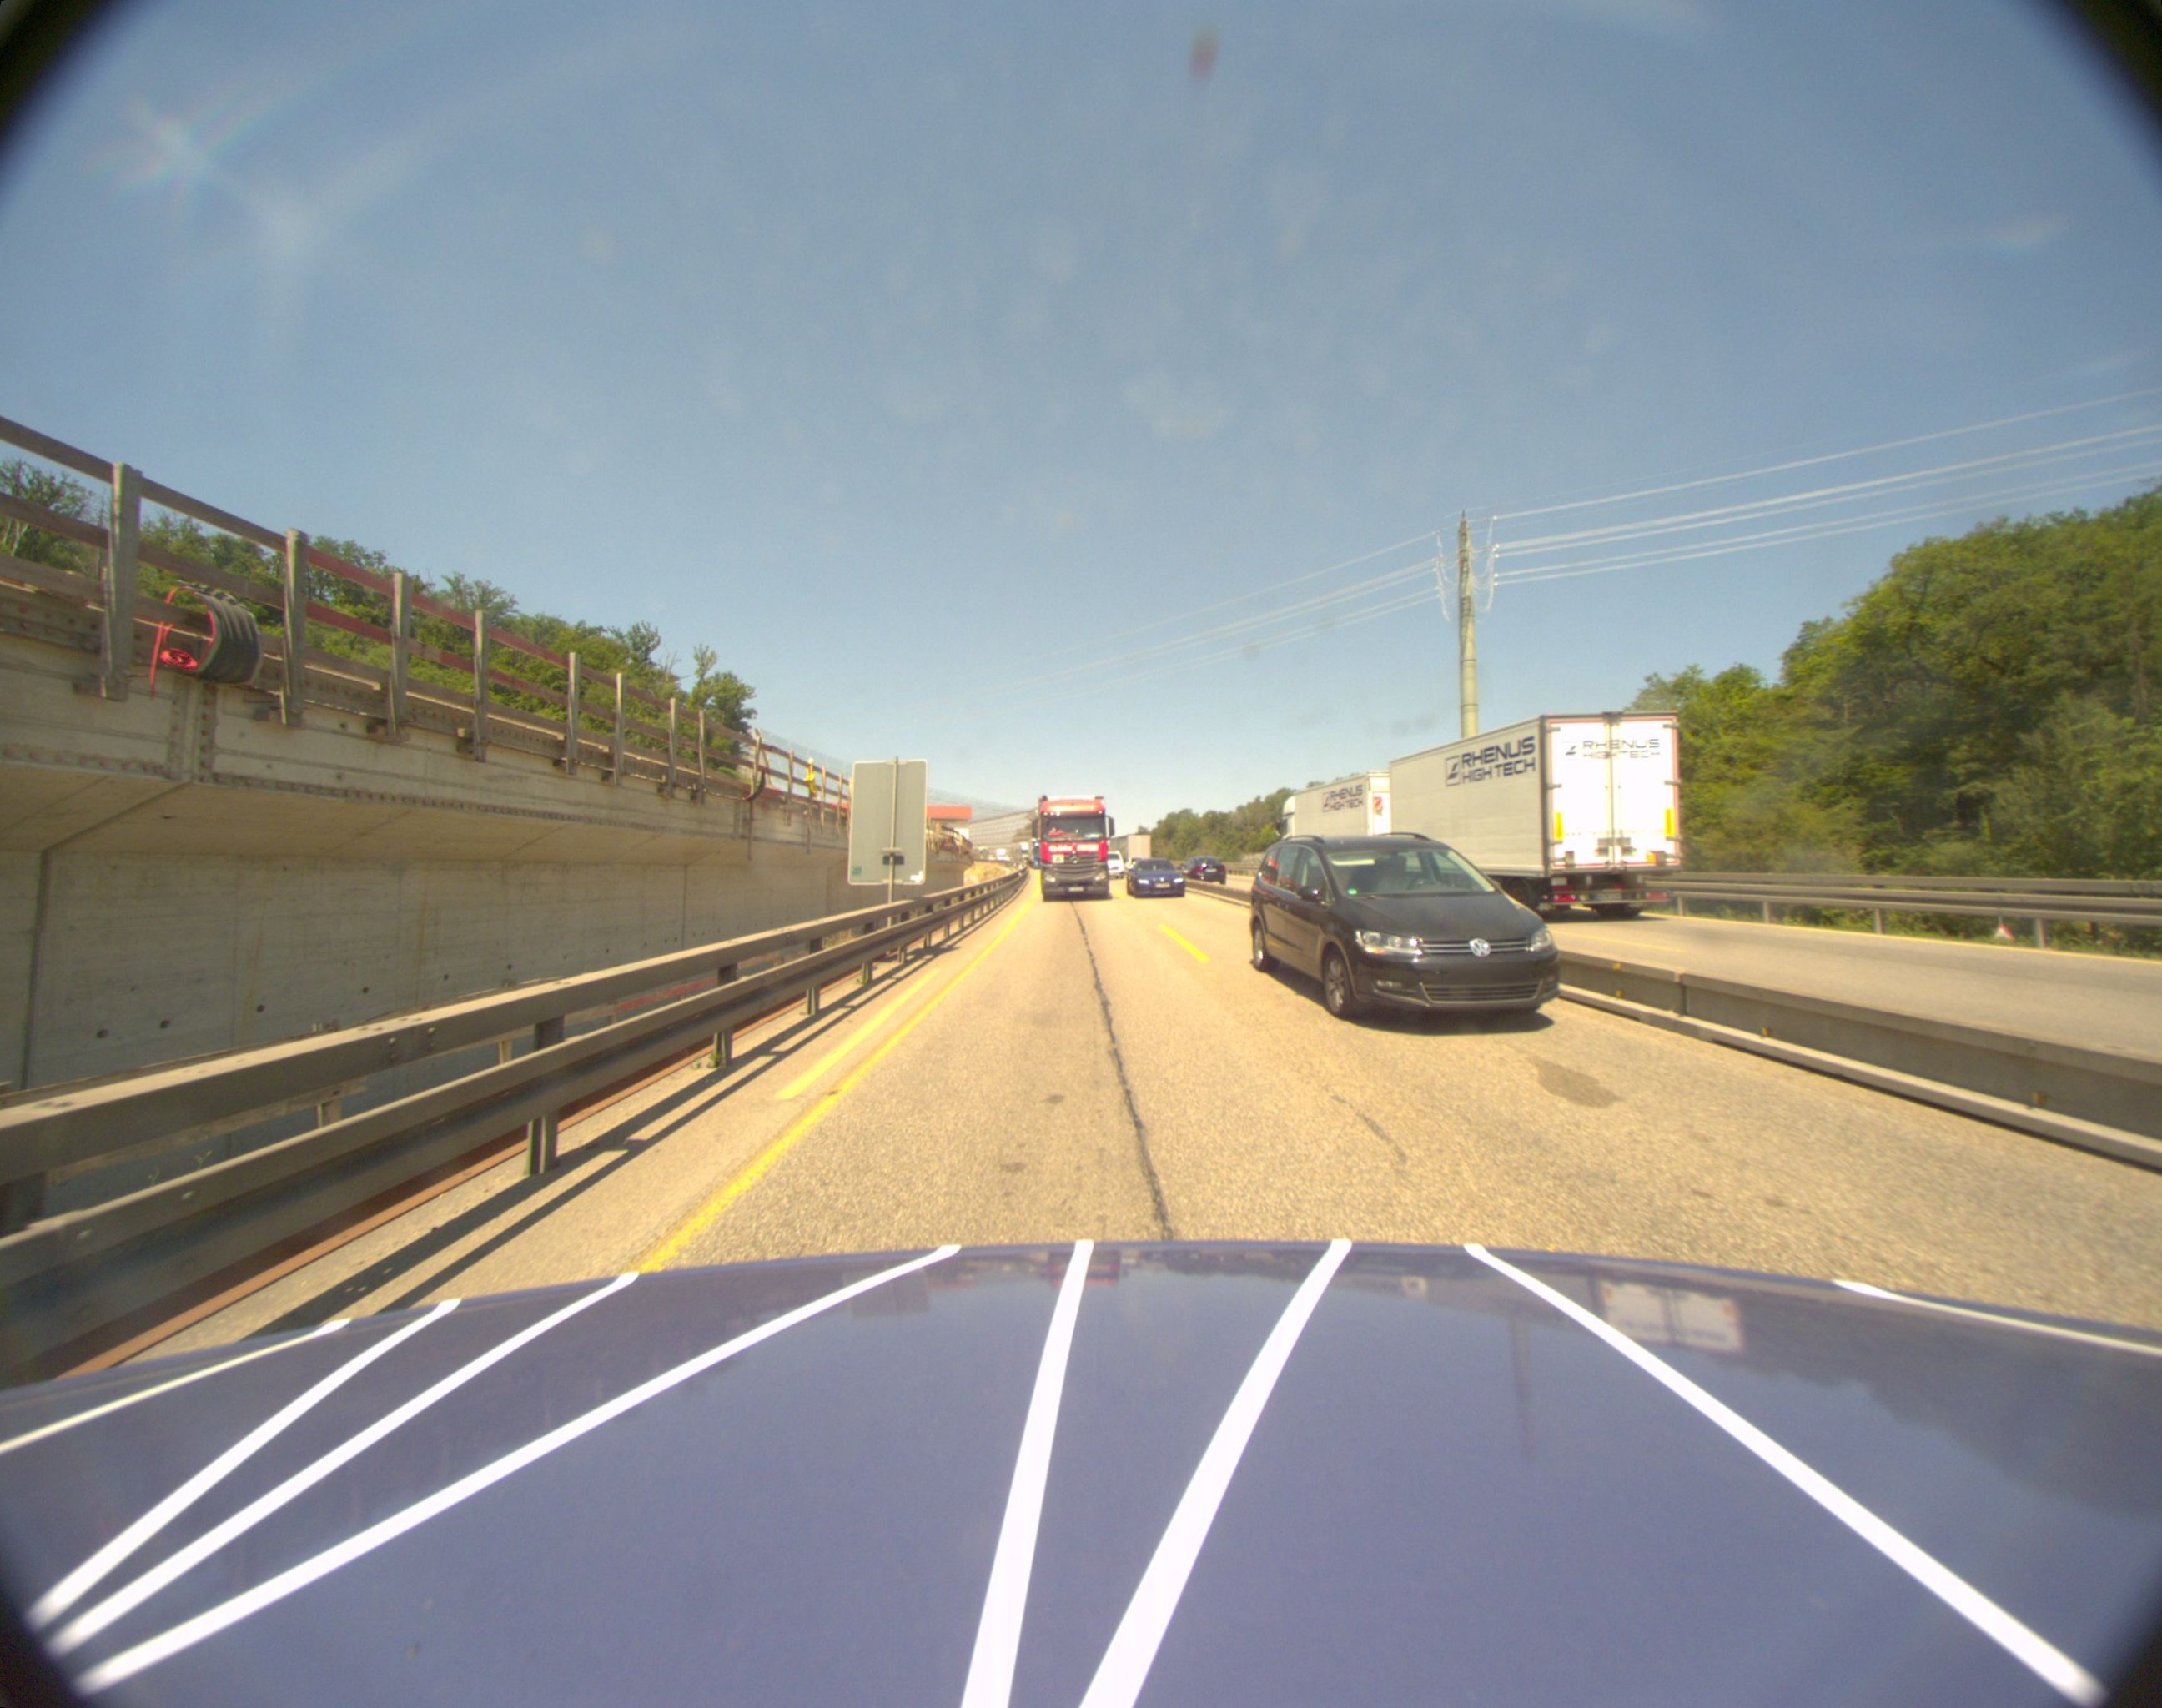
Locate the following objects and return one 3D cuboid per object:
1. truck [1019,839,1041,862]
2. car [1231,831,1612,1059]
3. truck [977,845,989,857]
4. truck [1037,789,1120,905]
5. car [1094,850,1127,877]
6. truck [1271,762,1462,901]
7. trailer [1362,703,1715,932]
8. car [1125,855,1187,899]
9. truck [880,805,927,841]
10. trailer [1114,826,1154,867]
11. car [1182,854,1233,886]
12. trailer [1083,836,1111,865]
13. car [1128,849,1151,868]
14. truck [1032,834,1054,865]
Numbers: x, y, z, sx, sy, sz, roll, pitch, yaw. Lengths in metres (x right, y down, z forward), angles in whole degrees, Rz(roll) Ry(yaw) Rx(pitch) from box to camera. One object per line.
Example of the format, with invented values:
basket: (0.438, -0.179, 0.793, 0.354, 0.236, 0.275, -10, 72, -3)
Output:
truck: (-9.728, -0.714, 143.249, 2.912, 4.208, 9.230, -2, 1, -11)
car: (3.129, 0.709, 8.459, 1.861, 1.695, 5.304, -1, 0, 0)
truck: (-30.550, -1.034, 236.904, 3.042, 3.725, 8.244, -2, 1, -5)
truck: (-0.325, -0.331, 31.916, 2.799, 3.986, 10.425, -2, 1, -3)
car: (2.084, 0.666, 54.718, 1.947, 1.858, 5.222, -1, 0, -2)
truck: (9.993, -0.669, 28.358, 2.986, 4.137, 10.544, -2, 0, -1)
trailer: (10.129, -0.681, 18.532, 3.011, 4.141, 9.016, -2, 0, -1)
car: (2.815, 0.839, 29.498, 1.896, 1.546, 4.786, -1, 0, 0)
truck: (-20.408, -3.465, 87.821, 2.714, 3.672, 5.720, -1, -2, 18)
trailer: (6.320, -0.861, 93.411, 2.842, 4.614, 14.575, -1, 0, -4)
car: (6.434, 0.772, 38.981, 1.786, 1.470, 4.620, -2, 0, 0)
trailer: (2.648, -0.592, 133.149, 3.074, 4.787, 13.994, -2, 0, -6)
car: (5.203, 0.382, 68.014, 1.586, 1.513, 4.152, -2, 1, -2)
truck: (-5.310, -0.575, 105.044, 2.672, 3.985, 10.426, -2, 0, -4)
